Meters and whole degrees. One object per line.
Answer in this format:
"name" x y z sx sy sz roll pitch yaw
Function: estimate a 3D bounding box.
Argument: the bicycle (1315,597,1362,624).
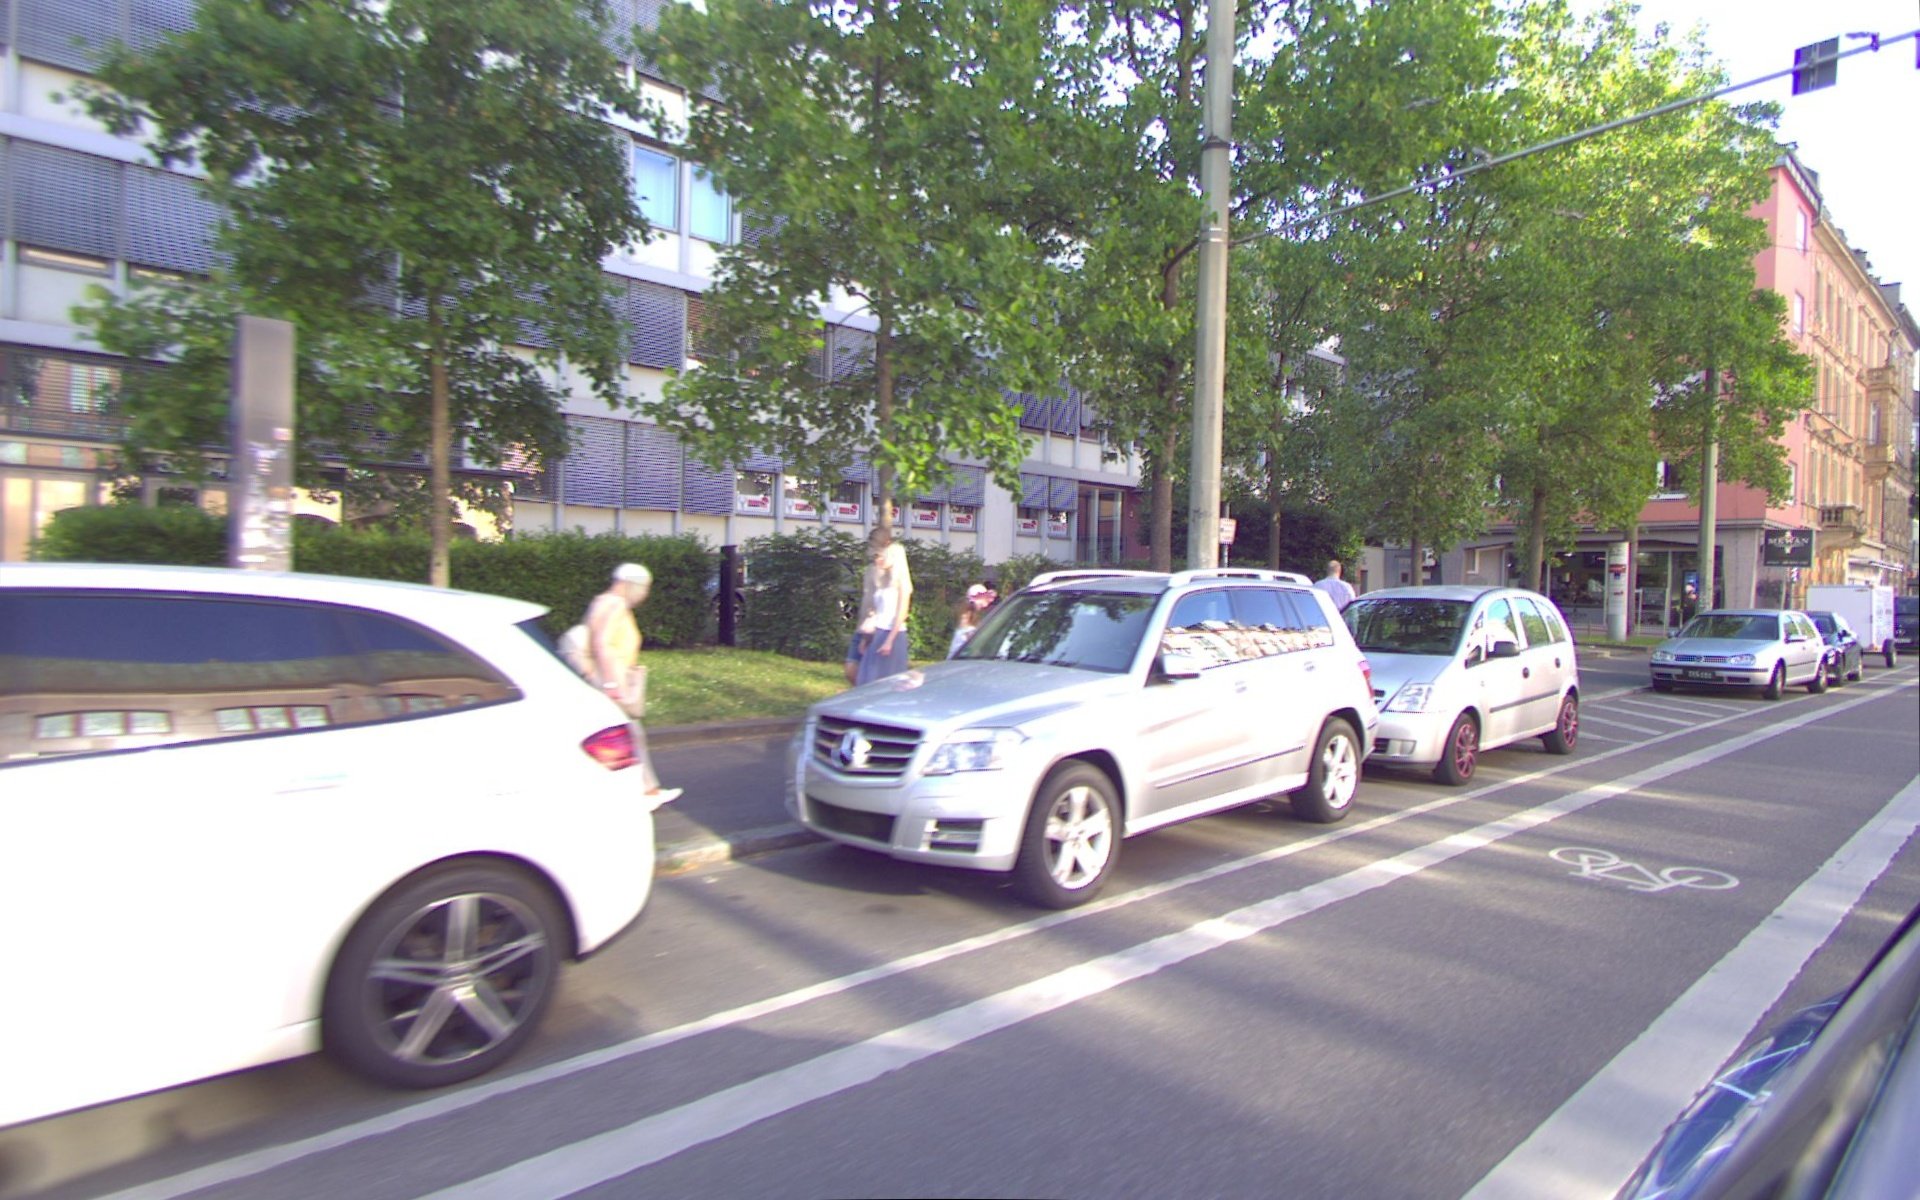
"bicycle" 13.922 0.385 37.222 0.441 0.886 1.588 1 3 -38

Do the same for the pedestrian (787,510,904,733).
"pedestrian" -1.045 0.169 9.195 0.733 1.920 0.671 1 4 -36

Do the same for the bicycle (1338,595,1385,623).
"bicycle" 15.388 0.338 38.776 1.581 0.974 0.443 5 3 39

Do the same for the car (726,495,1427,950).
"car" 1.054 0.501 6.445 4.633 1.857 1.927 1 0 -44

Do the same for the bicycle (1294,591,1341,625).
"bicycle" 13.002 0.271 36.840 0.441 1.139 1.588 1 3 -38

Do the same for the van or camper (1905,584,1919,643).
"van or camper" 35.839 0.454 36.608 5.381 2.062 1.934 -1 0 -42

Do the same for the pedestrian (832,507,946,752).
"pedestrian" -0.607 0.228 8.581 0.733 1.977 0.467 1 4 -36

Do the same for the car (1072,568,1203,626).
"car" 5.039 -0.110 28.446 1.789 1.482 3.939 2 2 42

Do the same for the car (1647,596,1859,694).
"car" 13.574 0.685 17.249 4.233 1.461 1.755 0 0 -36

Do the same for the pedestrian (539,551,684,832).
"pedestrian" -2.078 0.497 6.023 0.613 1.551 0.643 1 1 -37

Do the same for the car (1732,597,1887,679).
"car" 17.025 0.694 20.212 4.250 1.453 1.804 0 -1 -42

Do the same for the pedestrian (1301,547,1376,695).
"pedestrian" 4.833 0.249 12.941 0.591 1.830 0.613 0 2 -36

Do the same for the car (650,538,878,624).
"car" -3.892 -0.344 20.557 4.238 1.556 1.791 2 0 -44

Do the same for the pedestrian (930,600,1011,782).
"pedestrian" 0.085 0.724 8.318 0.415 1.415 0.457 0 4 -36

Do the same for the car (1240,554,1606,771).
"car" 4.479 0.470 9.512 3.995 1.611 1.716 1 0 -42

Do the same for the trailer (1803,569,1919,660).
"trailer" 22.800 0.338 25.544 3.774 2.144 1.664 0 0 -40

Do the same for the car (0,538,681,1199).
"car" -3.071 0.647 2.529 4.367 1.590 1.543 0 0 -43

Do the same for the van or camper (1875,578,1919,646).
"van or camper" 31.314 0.369 32.810 5.240 2.071 1.973 0 0 -43
